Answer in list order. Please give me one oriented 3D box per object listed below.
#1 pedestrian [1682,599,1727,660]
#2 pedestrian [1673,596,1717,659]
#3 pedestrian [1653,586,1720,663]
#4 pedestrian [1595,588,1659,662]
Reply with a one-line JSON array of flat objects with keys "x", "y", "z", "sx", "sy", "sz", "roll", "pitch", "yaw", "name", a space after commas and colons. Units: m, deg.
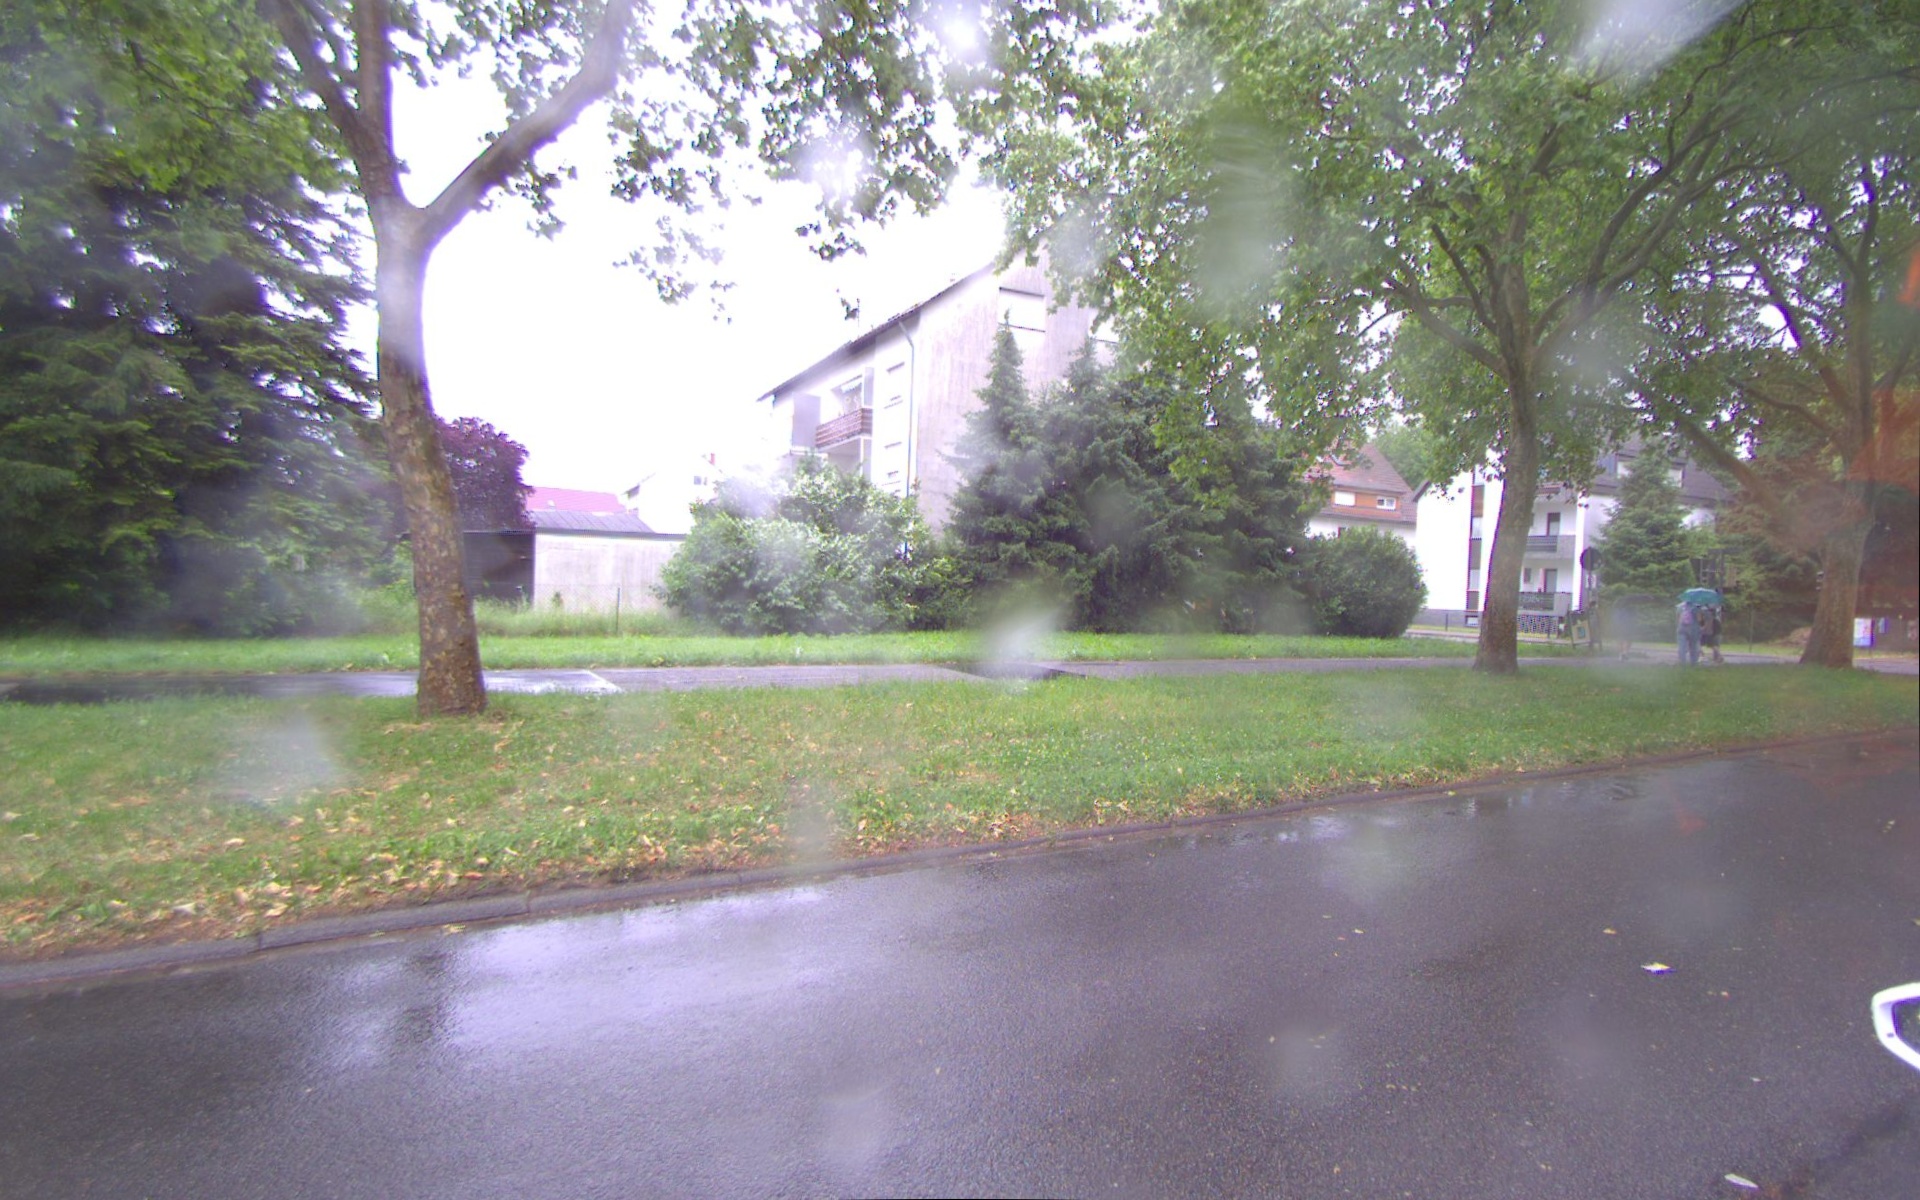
[{"x": 22.088, "y": 0.858, "z": 29.816, "sx": 0.633, "sy": 1.768, "sz": 0.854, "roll": 1, "pitch": 1, "yaw": -33, "name": "pedestrian"}, {"x": 21.211, "y": 0.792, "z": 28.994, "sx": 0.633, "sy": 1.768, "sz": 0.815, "roll": 1, "pitch": 1, "yaw": -33, "name": "pedestrian"}, {"x": 17.432, "y": 0.568, "z": 24.102, "sx": 0.828, "sy": 1.789, "sz": 1.028, "roll": 1, "pitch": 1, "yaw": -30, "name": "pedestrian"}, {"x": 16.821, "y": 0.616, "z": 25.341, "sx": 0.869, "sy": 1.789, "sz": 1.028, "roll": 1, "pitch": 1, "yaw": -30, "name": "pedestrian"}]
